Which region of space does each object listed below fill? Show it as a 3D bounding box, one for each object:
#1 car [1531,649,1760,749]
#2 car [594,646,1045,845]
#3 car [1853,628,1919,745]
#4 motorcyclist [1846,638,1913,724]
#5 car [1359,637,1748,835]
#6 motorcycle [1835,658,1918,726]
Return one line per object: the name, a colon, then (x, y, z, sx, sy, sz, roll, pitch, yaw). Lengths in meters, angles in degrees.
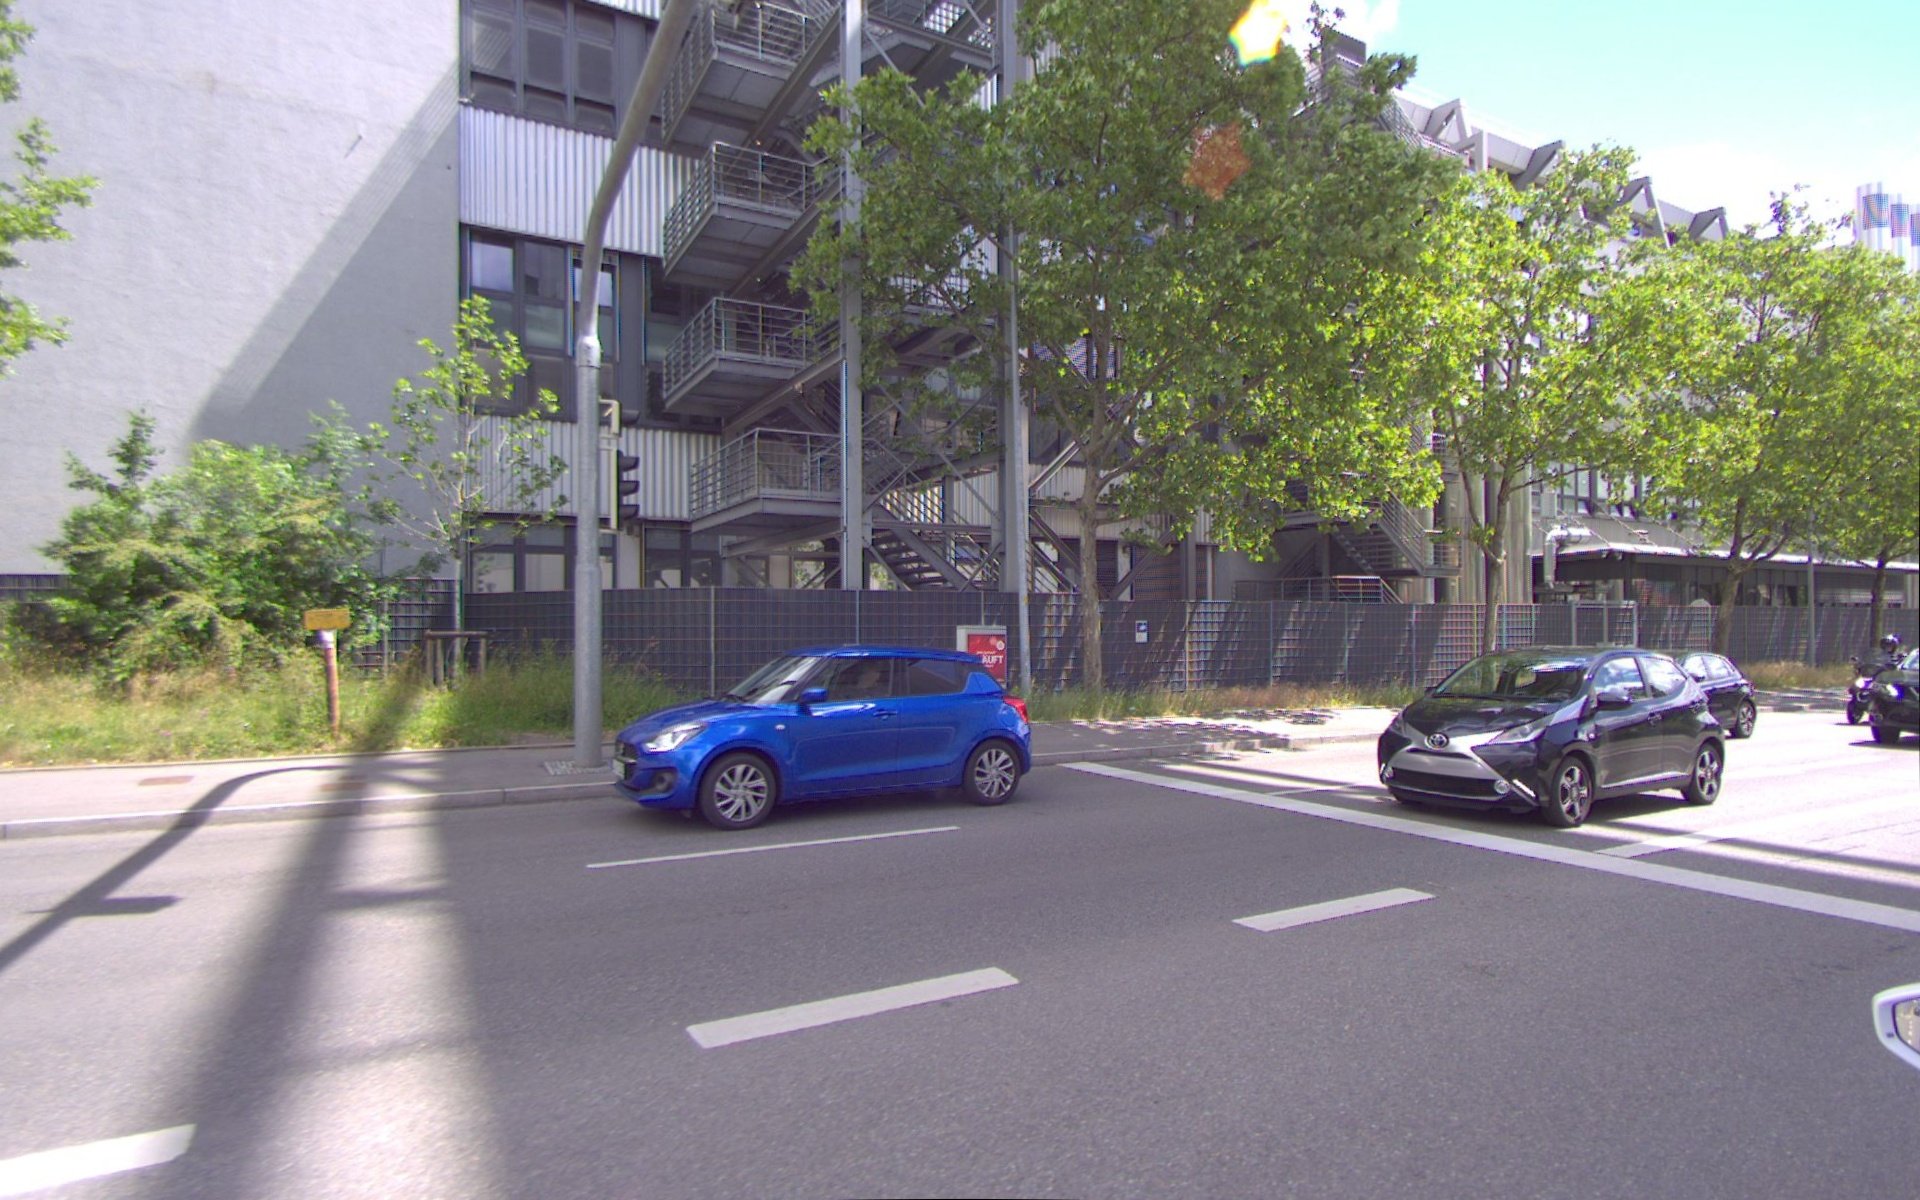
car: (11.119, 1.524, 16.242, 3.875, 1.447, 1.569, 2, -3, -31)
car: (-1.236, 1.168, 9.251, 3.778, 1.448, 1.684, 1, -2, -31)
car: (15.851, 1.322, 15.572, 4.163, 1.706, 1.729, 2, -3, -29)
motorcyclist: (18.340, 1.599, 20.035, 1.083, 1.644, 0.729, 2, 0, -33)
car: (5.564, 1.133, 9.360, 3.570, 1.524, 1.551, 2, -3, -30)
motorcycle: (18.221, 1.800, 19.956, 2.352, 1.236, 0.670, 2, 0, -34)
